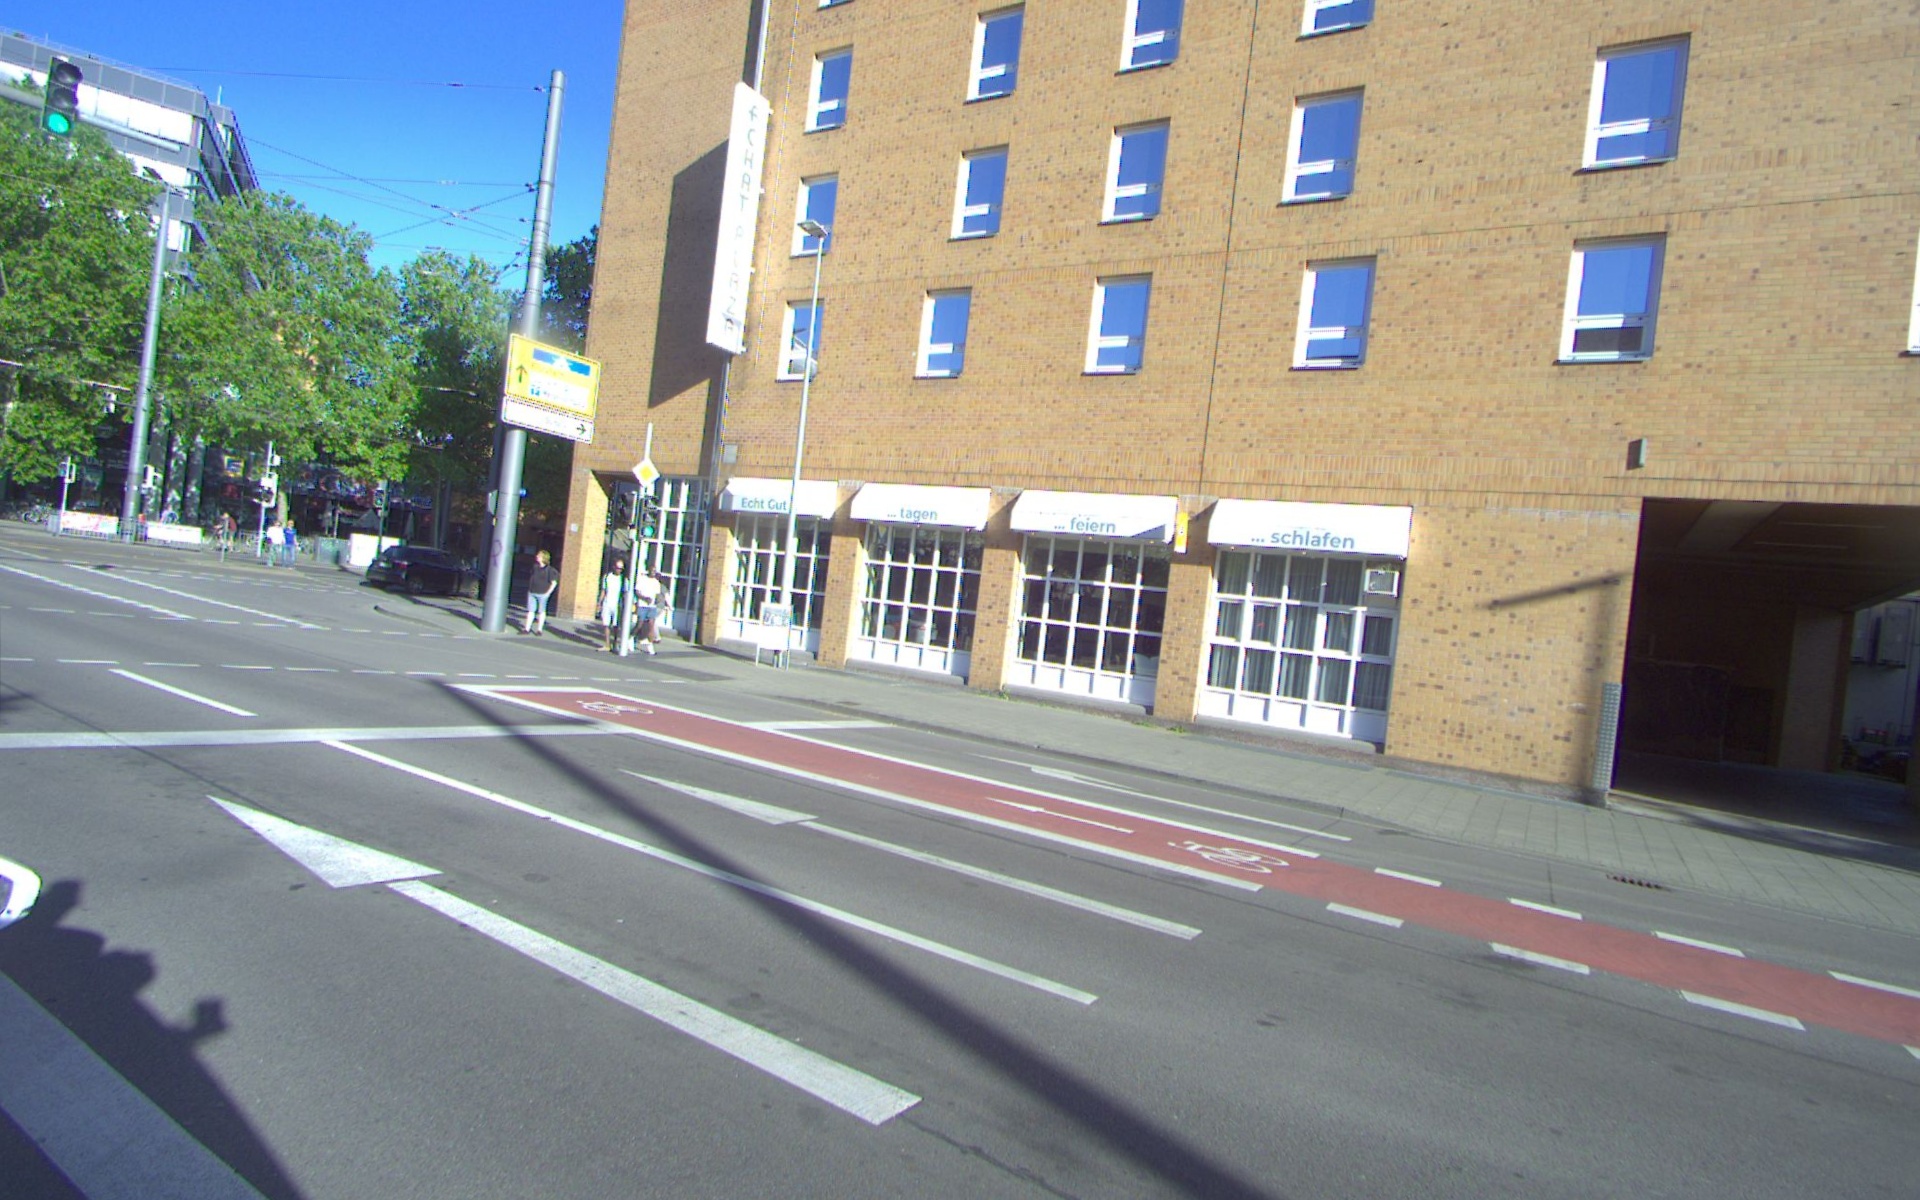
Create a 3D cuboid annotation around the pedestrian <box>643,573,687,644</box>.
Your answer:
[{"bbox_3d":[-6.593,0.194,22.466,0.543,1.495,0.593,6,0,32],"label":"pedestrian"}]

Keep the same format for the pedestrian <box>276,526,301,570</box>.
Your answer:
[{"bbox_3d":[-23.978,-1.848,35.926,0.563,1.496,0.695,8,-2,-37],"label":"pedestrian"}]

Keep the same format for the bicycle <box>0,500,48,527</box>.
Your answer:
[{"bbox_3d":[-49.180,-4.538,52.772,0.354,1.058,1.885,7,-2,31],"label":"bicycle"}]

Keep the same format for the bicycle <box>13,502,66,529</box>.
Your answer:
[{"bbox_3d":[-47.323,-4.336,51.729,0.354,1.058,1.884,6,-2,31],"label":"bicycle"}]

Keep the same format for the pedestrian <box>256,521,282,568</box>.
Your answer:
[{"bbox_3d":[-24.367,-1.946,35.464,0.562,1.550,0.696,8,-1,-32],"label":"pedestrian"}]

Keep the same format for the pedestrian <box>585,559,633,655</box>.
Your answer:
[{"bbox_3d":[-6.865,0.131,19.690,0.589,1.804,0.674,3,4,-38],"label":"pedestrian"}]

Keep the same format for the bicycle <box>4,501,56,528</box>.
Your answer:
[{"bbox_3d":[-48.338,-4.430,52.304,0.354,1.058,1.884,6,-2,31],"label":"bicycle"}]

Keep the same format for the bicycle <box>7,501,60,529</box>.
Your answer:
[{"bbox_3d":[-47.827,-4.380,51.951,0.354,1.058,1.884,7,-2,31],"label":"bicycle"}]

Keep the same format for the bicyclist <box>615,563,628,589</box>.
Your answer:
[{"bbox_3d":[-20.441,-1.445,60.732,0.559,1.536,0.631,7,-1,-19],"label":"bicyclist"}]

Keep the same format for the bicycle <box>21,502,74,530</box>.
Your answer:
[{"bbox_3d":[-46.052,-4.238,50.799,0.354,1.058,1.884,6,-2,31],"label":"bicycle"}]

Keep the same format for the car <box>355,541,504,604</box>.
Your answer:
[{"bbox_3d":[-17.161,-0.850,32.786,1.705,1.466,4.043,7,-2,21],"label":"car"}]

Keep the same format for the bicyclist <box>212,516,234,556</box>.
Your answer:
[{"bbox_3d":[-36.324,-3.140,49.572,0.396,1.859,0.585,6,-1,31],"label":"bicyclist"}]

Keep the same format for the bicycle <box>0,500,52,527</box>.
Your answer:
[{"bbox_3d":[-48.756,-4.487,52.527,0.354,1.058,1.885,7,-2,31],"label":"bicycle"}]

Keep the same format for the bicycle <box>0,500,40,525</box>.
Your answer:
[{"bbox_3d":[-50.152,-4.648,53.343,0.354,1.058,1.885,7,-2,31],"label":"bicycle"}]

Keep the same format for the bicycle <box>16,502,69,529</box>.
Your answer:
[{"bbox_3d":[-46.704,-4.292,51.206,0.354,1.058,1.884,6,-2,31],"label":"bicycle"}]

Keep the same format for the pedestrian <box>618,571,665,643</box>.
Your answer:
[{"bbox_3d":[-6.912,0.153,21.843,0.591,1.470,0.593,6,0,32],"label":"pedestrian"}]

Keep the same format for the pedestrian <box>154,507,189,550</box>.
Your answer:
[{"bbox_3d":[-34.606,-3.139,44.140,0.747,1.724,0.834,6,-1,32],"label":"pedestrian"}]

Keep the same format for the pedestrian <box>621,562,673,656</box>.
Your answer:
[{"bbox_3d":[-6.272,0.173,20.155,0.673,1.802,0.591,6,1,43],"label":"pedestrian"}]

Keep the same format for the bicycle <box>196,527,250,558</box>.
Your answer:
[{"bbox_3d":[-36.322,-2.823,49.619,0.414,1.228,2.046,6,-2,32],"label":"bicycle"}]

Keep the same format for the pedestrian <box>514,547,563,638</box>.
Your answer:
[{"bbox_3d":[-8.931,-0.148,21.347,0.726,1.813,0.510,7,-1,-19],"label":"pedestrian"}]
